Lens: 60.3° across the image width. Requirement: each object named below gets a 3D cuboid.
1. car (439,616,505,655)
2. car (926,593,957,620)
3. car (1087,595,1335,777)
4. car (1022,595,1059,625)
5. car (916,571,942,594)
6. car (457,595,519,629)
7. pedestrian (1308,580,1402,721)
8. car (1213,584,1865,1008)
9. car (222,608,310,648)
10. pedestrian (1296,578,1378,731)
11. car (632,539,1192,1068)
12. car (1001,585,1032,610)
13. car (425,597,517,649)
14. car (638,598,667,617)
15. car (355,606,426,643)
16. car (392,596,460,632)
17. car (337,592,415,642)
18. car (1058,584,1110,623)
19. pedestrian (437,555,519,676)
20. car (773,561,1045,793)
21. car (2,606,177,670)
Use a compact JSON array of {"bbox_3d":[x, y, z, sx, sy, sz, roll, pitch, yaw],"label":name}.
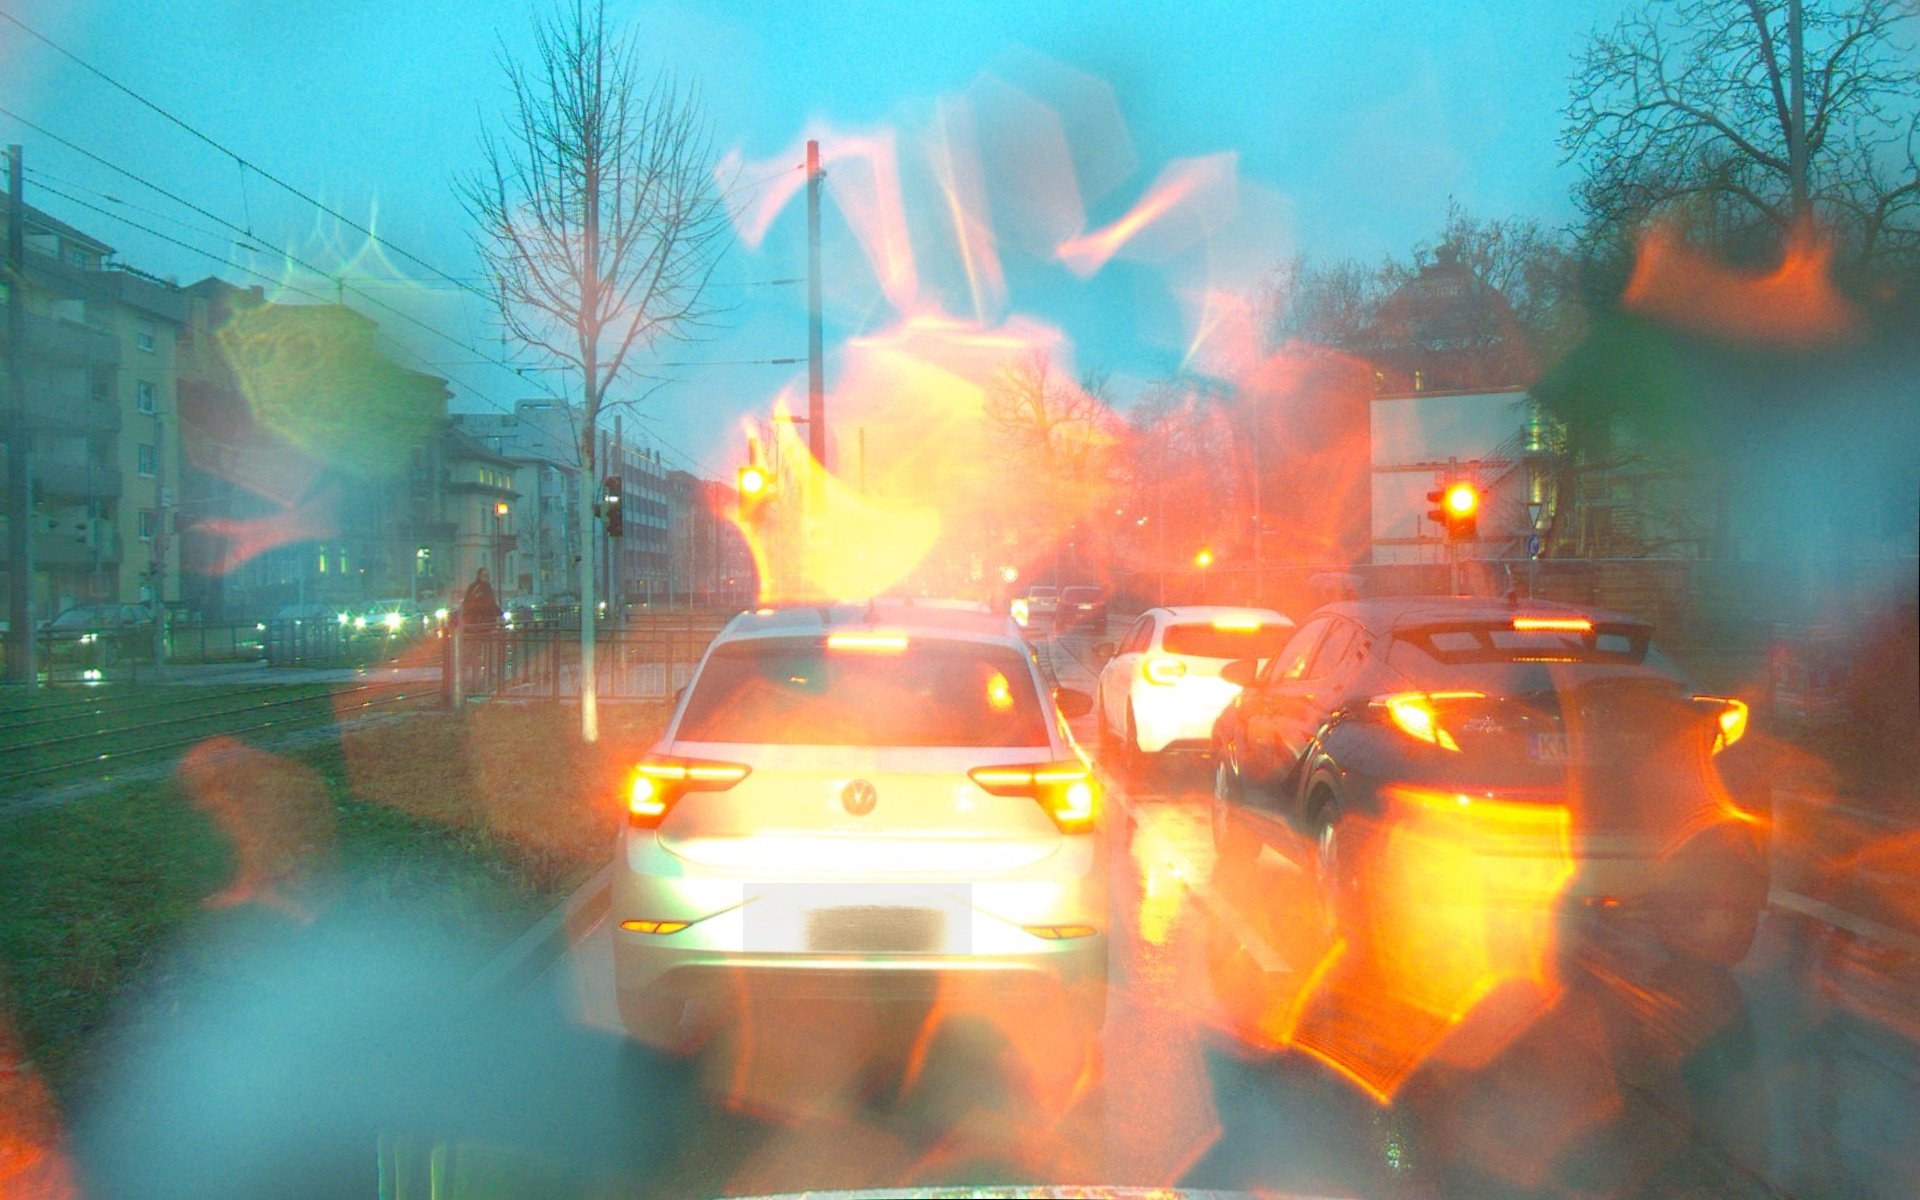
[{"bbox_3d":[-21.997,1.578,74.741,1.829,1.604,3.999,-1,0,-1],"label":"car"},{"bbox_3d":[-1.063,0.341,95.027,1.702,1.444,4.393,-1,1,-1],"label":"car"},{"bbox_3d":[2.204,0.705,15.431,1.710,1.458,3.731,1,0,0],"label":"car"},{"bbox_3d":[4.118,0.505,84.898,1.702,1.444,3.703,-1,1,-1],"label":"car"},{"bbox_3d":[-2.049,-1.159,110.080,1.702,1.444,3.803,-1,1,-1],"label":"car"},{"bbox_3d":[-23.287,0.580,81.695,1.910,1.630,4.000,1,0,0],"label":"car"},{"bbox_3d":[5.932,0.736,24.872,0.946,2.049,1.000,-1,0,-23],"label":"pedestrian"},{"bbox_3d":[2.426,0.710,8.019,1.763,1.537,3.895,-1,0,-1],"label":"car"},{"bbox_3d":[-24.107,0.950,57.574,1.657,1.300,3.534,-1,0,-2],"label":"car"},{"bbox_3d":[5.174,0.726,22.754,0.938,2.049,1.008,-1,0,4],"label":"pedestrian"},{"bbox_3d":[-0.257,0.588,6.930,1.659,1.560,3.997,1,0,-4],"label":"car"},{"bbox_3d":[3.485,-0.161,102.060,1.702,1.444,4.145,-1,1,-1],"label":"car"},{"bbox_3d":[-16.180,0.728,54.934,1.953,1.630,3.999,1,0,-2],"label":"car"},{"bbox_3d":[-28.505,0.677,153.497,1.910,1.630,4.000,1,0,0],"label":"car"},{"bbox_3d":[-21.402,0.901,62.305,1.658,1.300,4.142,-1,0,-7],"label":"car"},{"bbox_3d":[-25.430,0.669,78.862,1.910,1.630,4.000,1,0,0],"label":"car"},{"bbox_3d":[-25.047,0.700,71.059,1.953,2.049,3.999,1,0,-1],"label":"car"},{"bbox_3d":[4.741,0.114,63.659,1.702,1.444,3.703,-1,1,-1],"label":"car"},{"bbox_3d":[-8.400,0.261,28.820,0.944,2.049,1.003,-1,0,39],"label":"pedestrian"},{"bbox_3d":[-0.354,0.483,13.129,1.762,1.492,4.585,-1,1,-1],"label":"car"},{"bbox_3d":[-20.256,0.848,38.710,1.821,1.355,4.314,1,0,-1],"label":"car"}]
